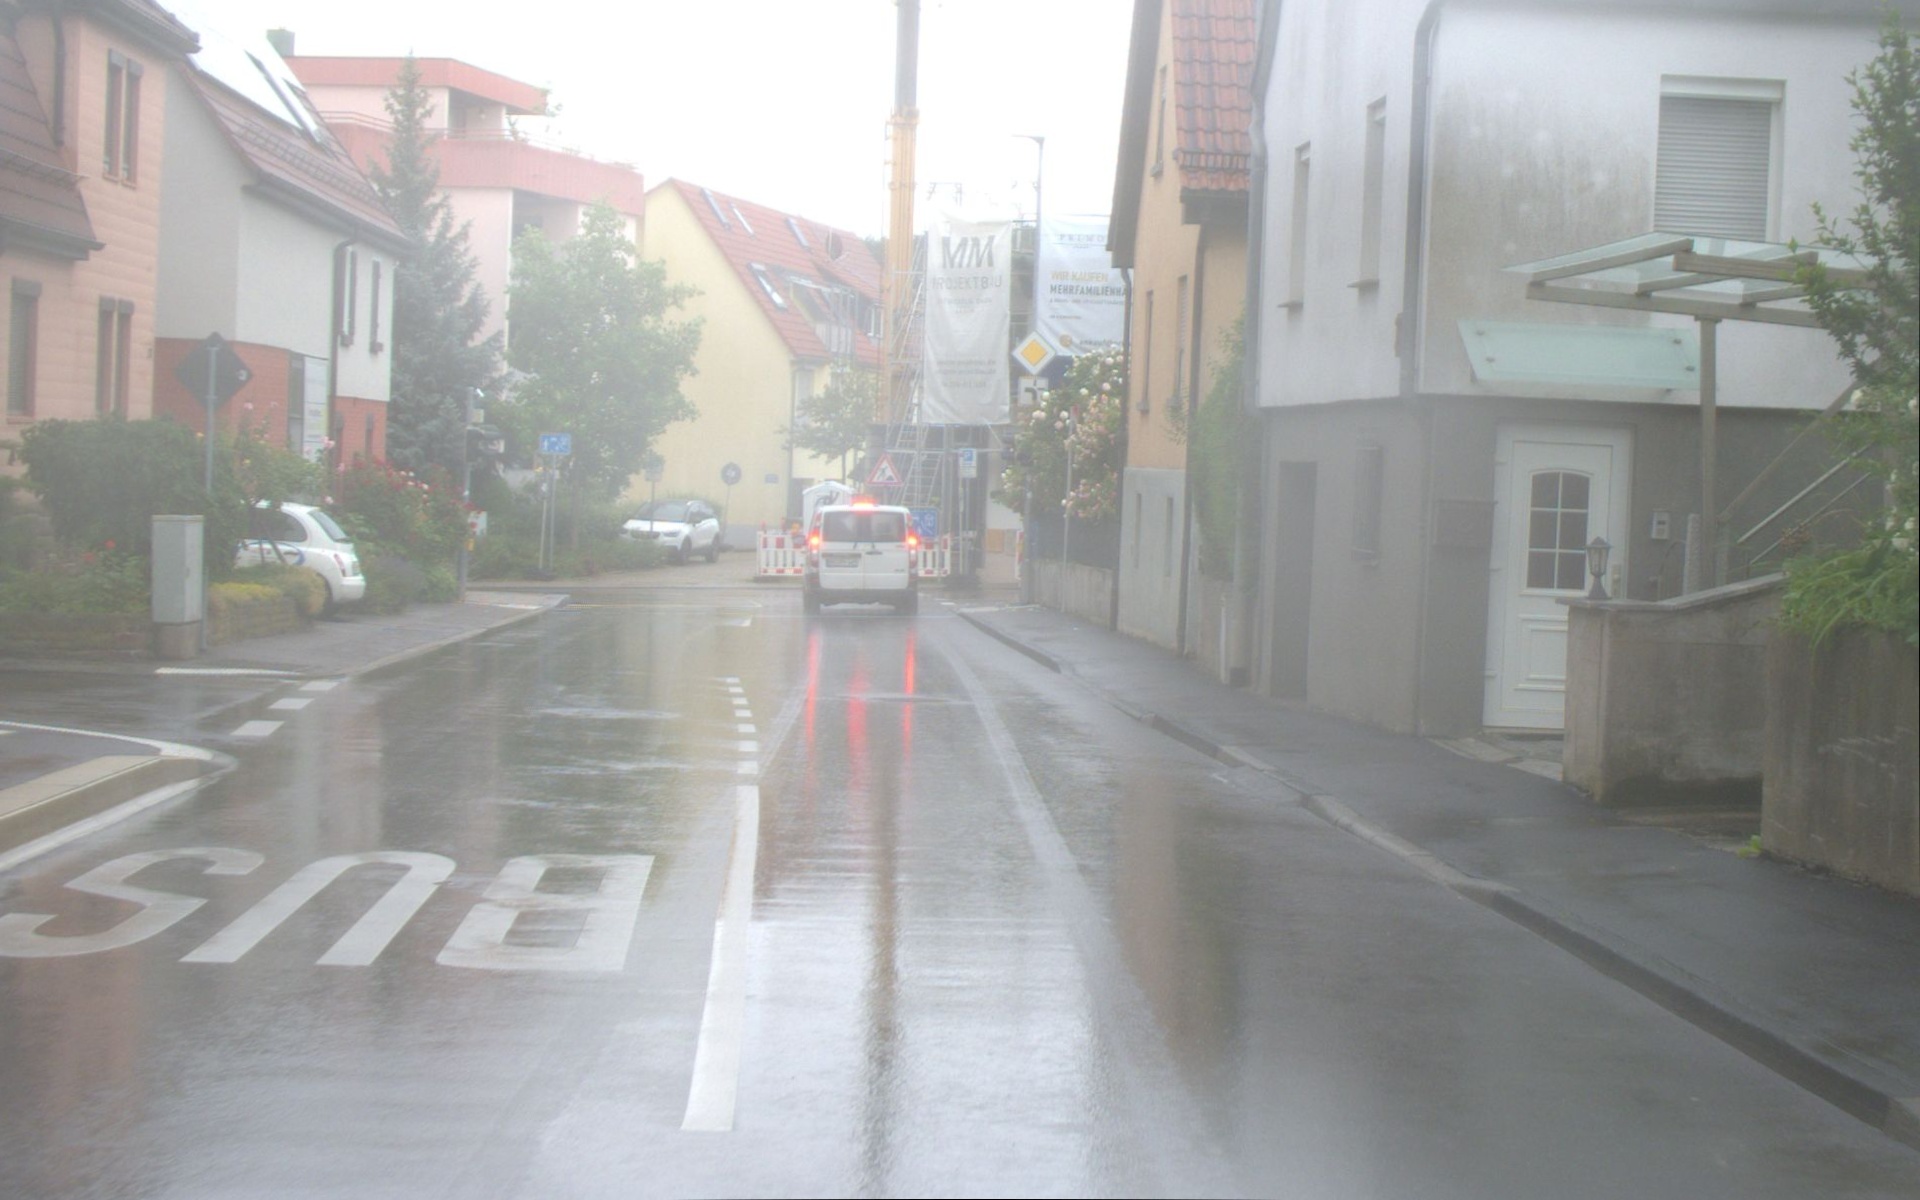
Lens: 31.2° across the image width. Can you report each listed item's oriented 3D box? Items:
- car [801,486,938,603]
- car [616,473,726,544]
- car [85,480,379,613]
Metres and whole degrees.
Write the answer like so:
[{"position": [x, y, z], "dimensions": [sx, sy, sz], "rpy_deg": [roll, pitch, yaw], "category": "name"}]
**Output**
[{"position": [-1.574, -0.944, 58.427], "dimensions": [2.181, 1.863, 4.001], "rpy_deg": [2, 1, -3], "category": "car"}, {"position": [-7.327, -2.348, 87.429], "dimensions": [1.601, 1.672, 3.936], "rpy_deg": [3, 3, 13], "category": "car"}, {"position": [-9.800, -0.729, 46.463], "dimensions": [3.545, 1.524, 1.663], "rpy_deg": [4, 1, -1], "category": "car"}]
